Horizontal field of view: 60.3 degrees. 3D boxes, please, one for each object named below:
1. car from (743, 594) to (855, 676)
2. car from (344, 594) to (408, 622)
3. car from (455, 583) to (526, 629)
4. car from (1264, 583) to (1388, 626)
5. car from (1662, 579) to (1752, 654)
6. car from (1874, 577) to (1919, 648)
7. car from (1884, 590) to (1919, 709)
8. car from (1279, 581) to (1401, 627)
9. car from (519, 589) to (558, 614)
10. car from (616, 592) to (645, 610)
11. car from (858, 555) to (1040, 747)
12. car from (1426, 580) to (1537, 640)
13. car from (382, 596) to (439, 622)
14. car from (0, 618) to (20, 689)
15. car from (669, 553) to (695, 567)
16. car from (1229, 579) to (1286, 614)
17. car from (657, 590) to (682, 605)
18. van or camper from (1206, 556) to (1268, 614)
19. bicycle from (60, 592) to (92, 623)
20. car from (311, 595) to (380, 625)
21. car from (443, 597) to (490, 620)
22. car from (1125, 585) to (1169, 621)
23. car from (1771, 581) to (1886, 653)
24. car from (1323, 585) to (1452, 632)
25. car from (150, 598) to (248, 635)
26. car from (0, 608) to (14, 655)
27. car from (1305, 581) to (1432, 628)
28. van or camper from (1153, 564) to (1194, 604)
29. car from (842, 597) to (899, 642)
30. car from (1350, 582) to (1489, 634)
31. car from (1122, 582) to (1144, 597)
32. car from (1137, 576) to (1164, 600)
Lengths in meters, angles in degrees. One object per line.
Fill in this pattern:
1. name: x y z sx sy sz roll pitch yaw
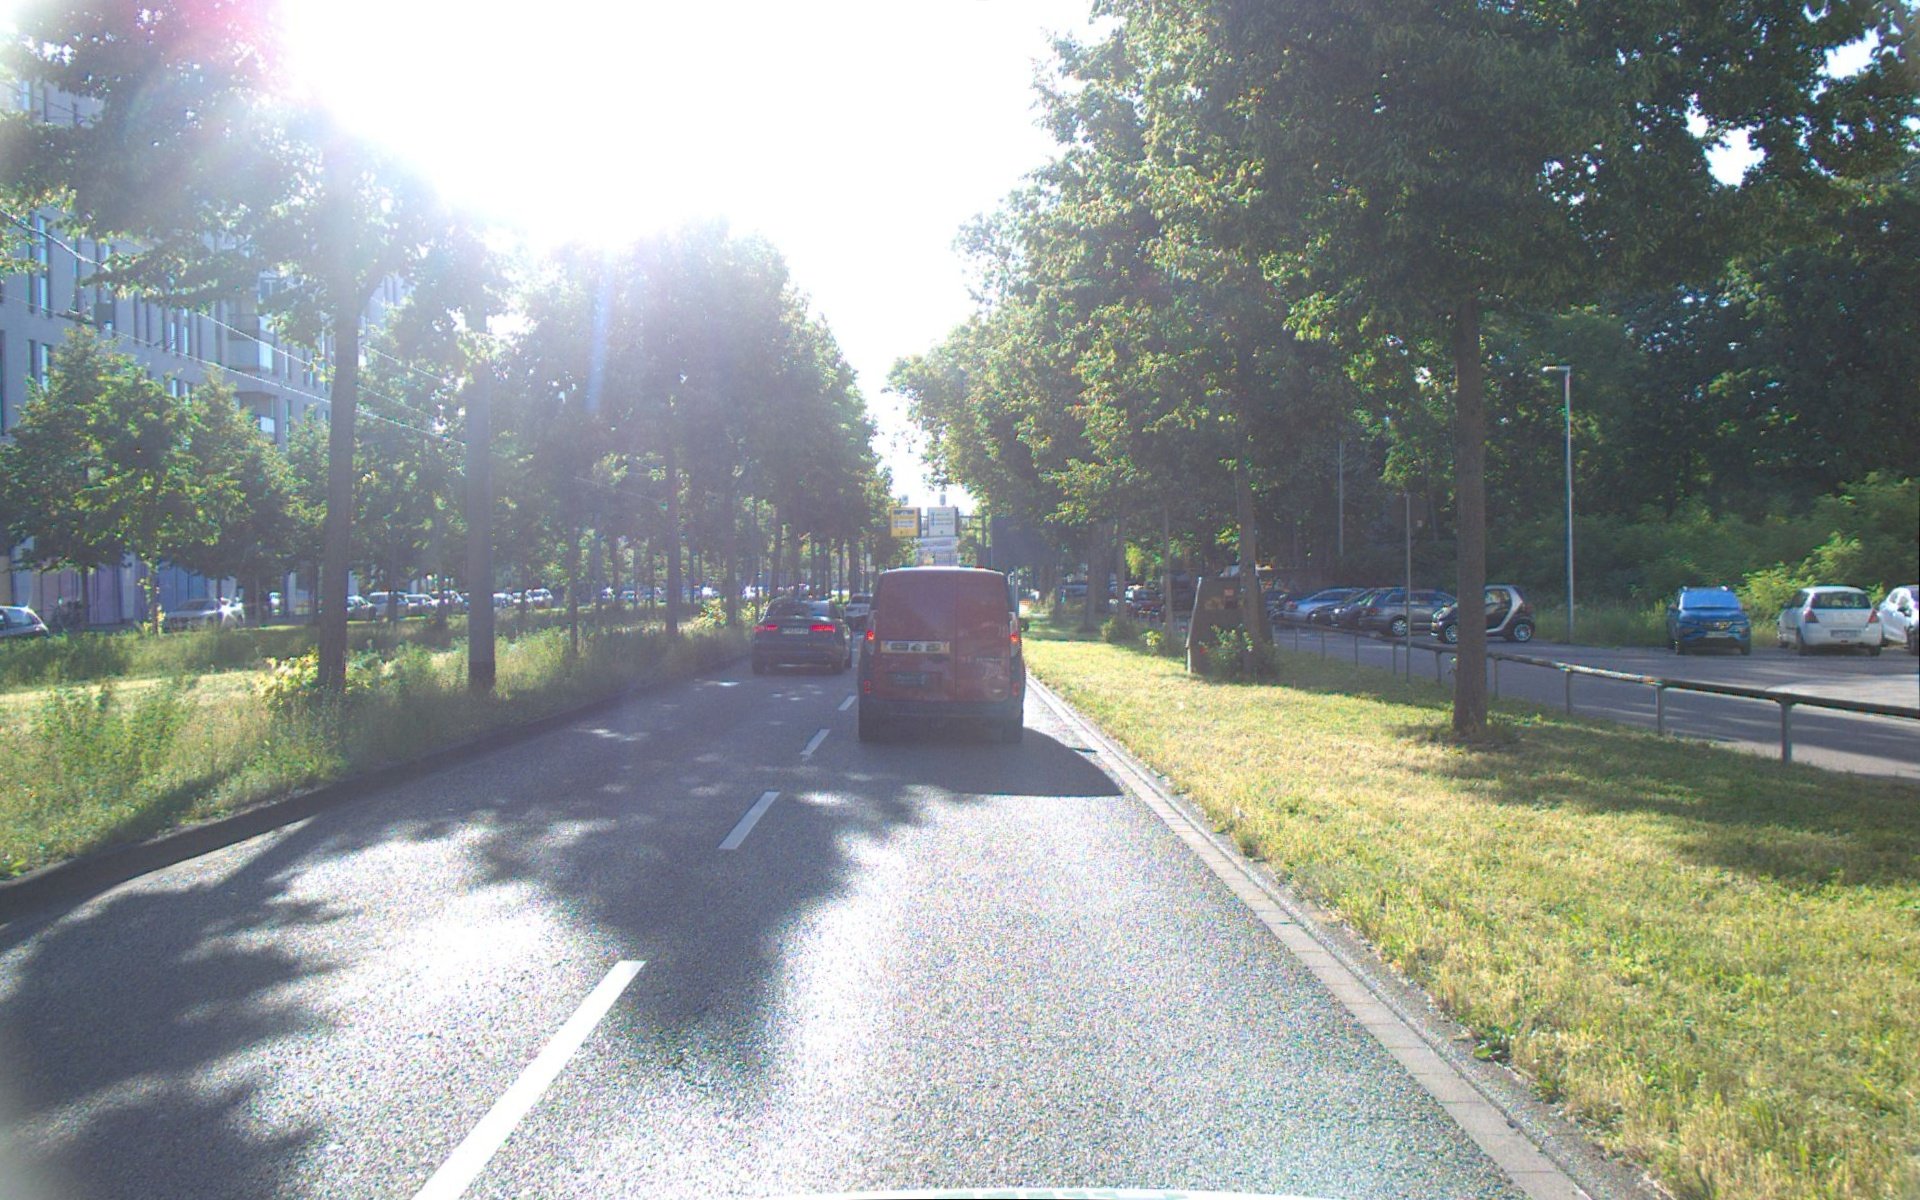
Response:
1. car: -3.043 0.626 31.938 1.755 1.453 4.000 1 0 0
2. car: -31.912 0.441 90.470 1.953 1.466 4.455 1 0 -1
3. car: -21.665 0.286 76.491 1.952 2.049 4.001 1 0 2
4. car: 15.035 0.193 68.129 4.624 1.430 2.000 -4 0 0
5. car: 17.619 0.348 39.133 1.560 1.572 3.822 -1 2 19
6. car: 22.430 0.302 38.056 1.681 1.567 3.953 1 0 18
7. car: 13.236 0.591 19.799 1.952 1.512 4.403 -3 0 2
8. car: 14.940 0.153 65.235 4.290 1.435 2.001 -5 0 2
9. car: -32.115 0.109 126.162 1.954 1.803 4.774 1 0 -3
10. car: -32.877 0.096 165.112 1.840 1.649 4.611 1 0 1
11. car: -0.221 0.507 18.376 1.773 1.870 3.997 1 0 -3
12. car: 14.507 0.272 46.085 2.707 1.577 1.463 -2 -1 9
13. car: -31.904 0.514 96.167 1.954 1.466 4.453 1 0 -3
14. car: -21.163 1.121 33.419 1.954 1.466 4.453 1 0 -3
15. car: -29.433 -4.227 175.123 1.873 1.348 4.611 1 0 1
16. car: 14.168 -0.151 78.931 1.953 1.601 3.999 1 0 -1
17. car: -32.842 -0.288 187.064 1.952 1.636 4.611 1 0 1
18. van or camper: 14.134 -0.732 84.786 1.954 2.778 4.961 -3 0 -3
19. bicycle: -38.525 0.333 72.097 0.586 1.303 1.607 1 0 -3
20. car: -31.755 0.495 85.627 1.954 1.466 4.776 1 0 -3
21. car: -32.322 0.556 108.457 1.954 1.466 4.453 1 0 -3
22. car: 8.996 0.130 79.884 1.951 1.668 4.002 1 0 4
23. car: 20.235 0.388 38.669 1.710 1.563 3.883 1 0 18
24. car: 15.263 0.294 59.131 4.108 1.524 1.781 -1 0 -4
25. car: -31.607 0.671 68.841 1.954 1.466 4.923 1 0 -3
26. car: -31.311 0.982 51.114 1.954 1.466 4.017 1 0 -3
27. car: 15.390 0.153 62.468 4.243 1.503 1.905 -3 2 -4
28. van or camper: 15.472 -1.190 120.112 2.503 2.731 6.568 -3 1 4
29. car: -3.434 0.717 63.952 1.953 1.646 4.000 1 0 0
30. car: 14.910 0.256 53.782 3.996 1.493 1.715 -2 0 0
31. car: 19.148 -1.151 183.130 1.952 1.668 4.000 1 0 1
32. car: 16.369 -1.044 142.339 2.043 2.049 4.945 0 0 4
